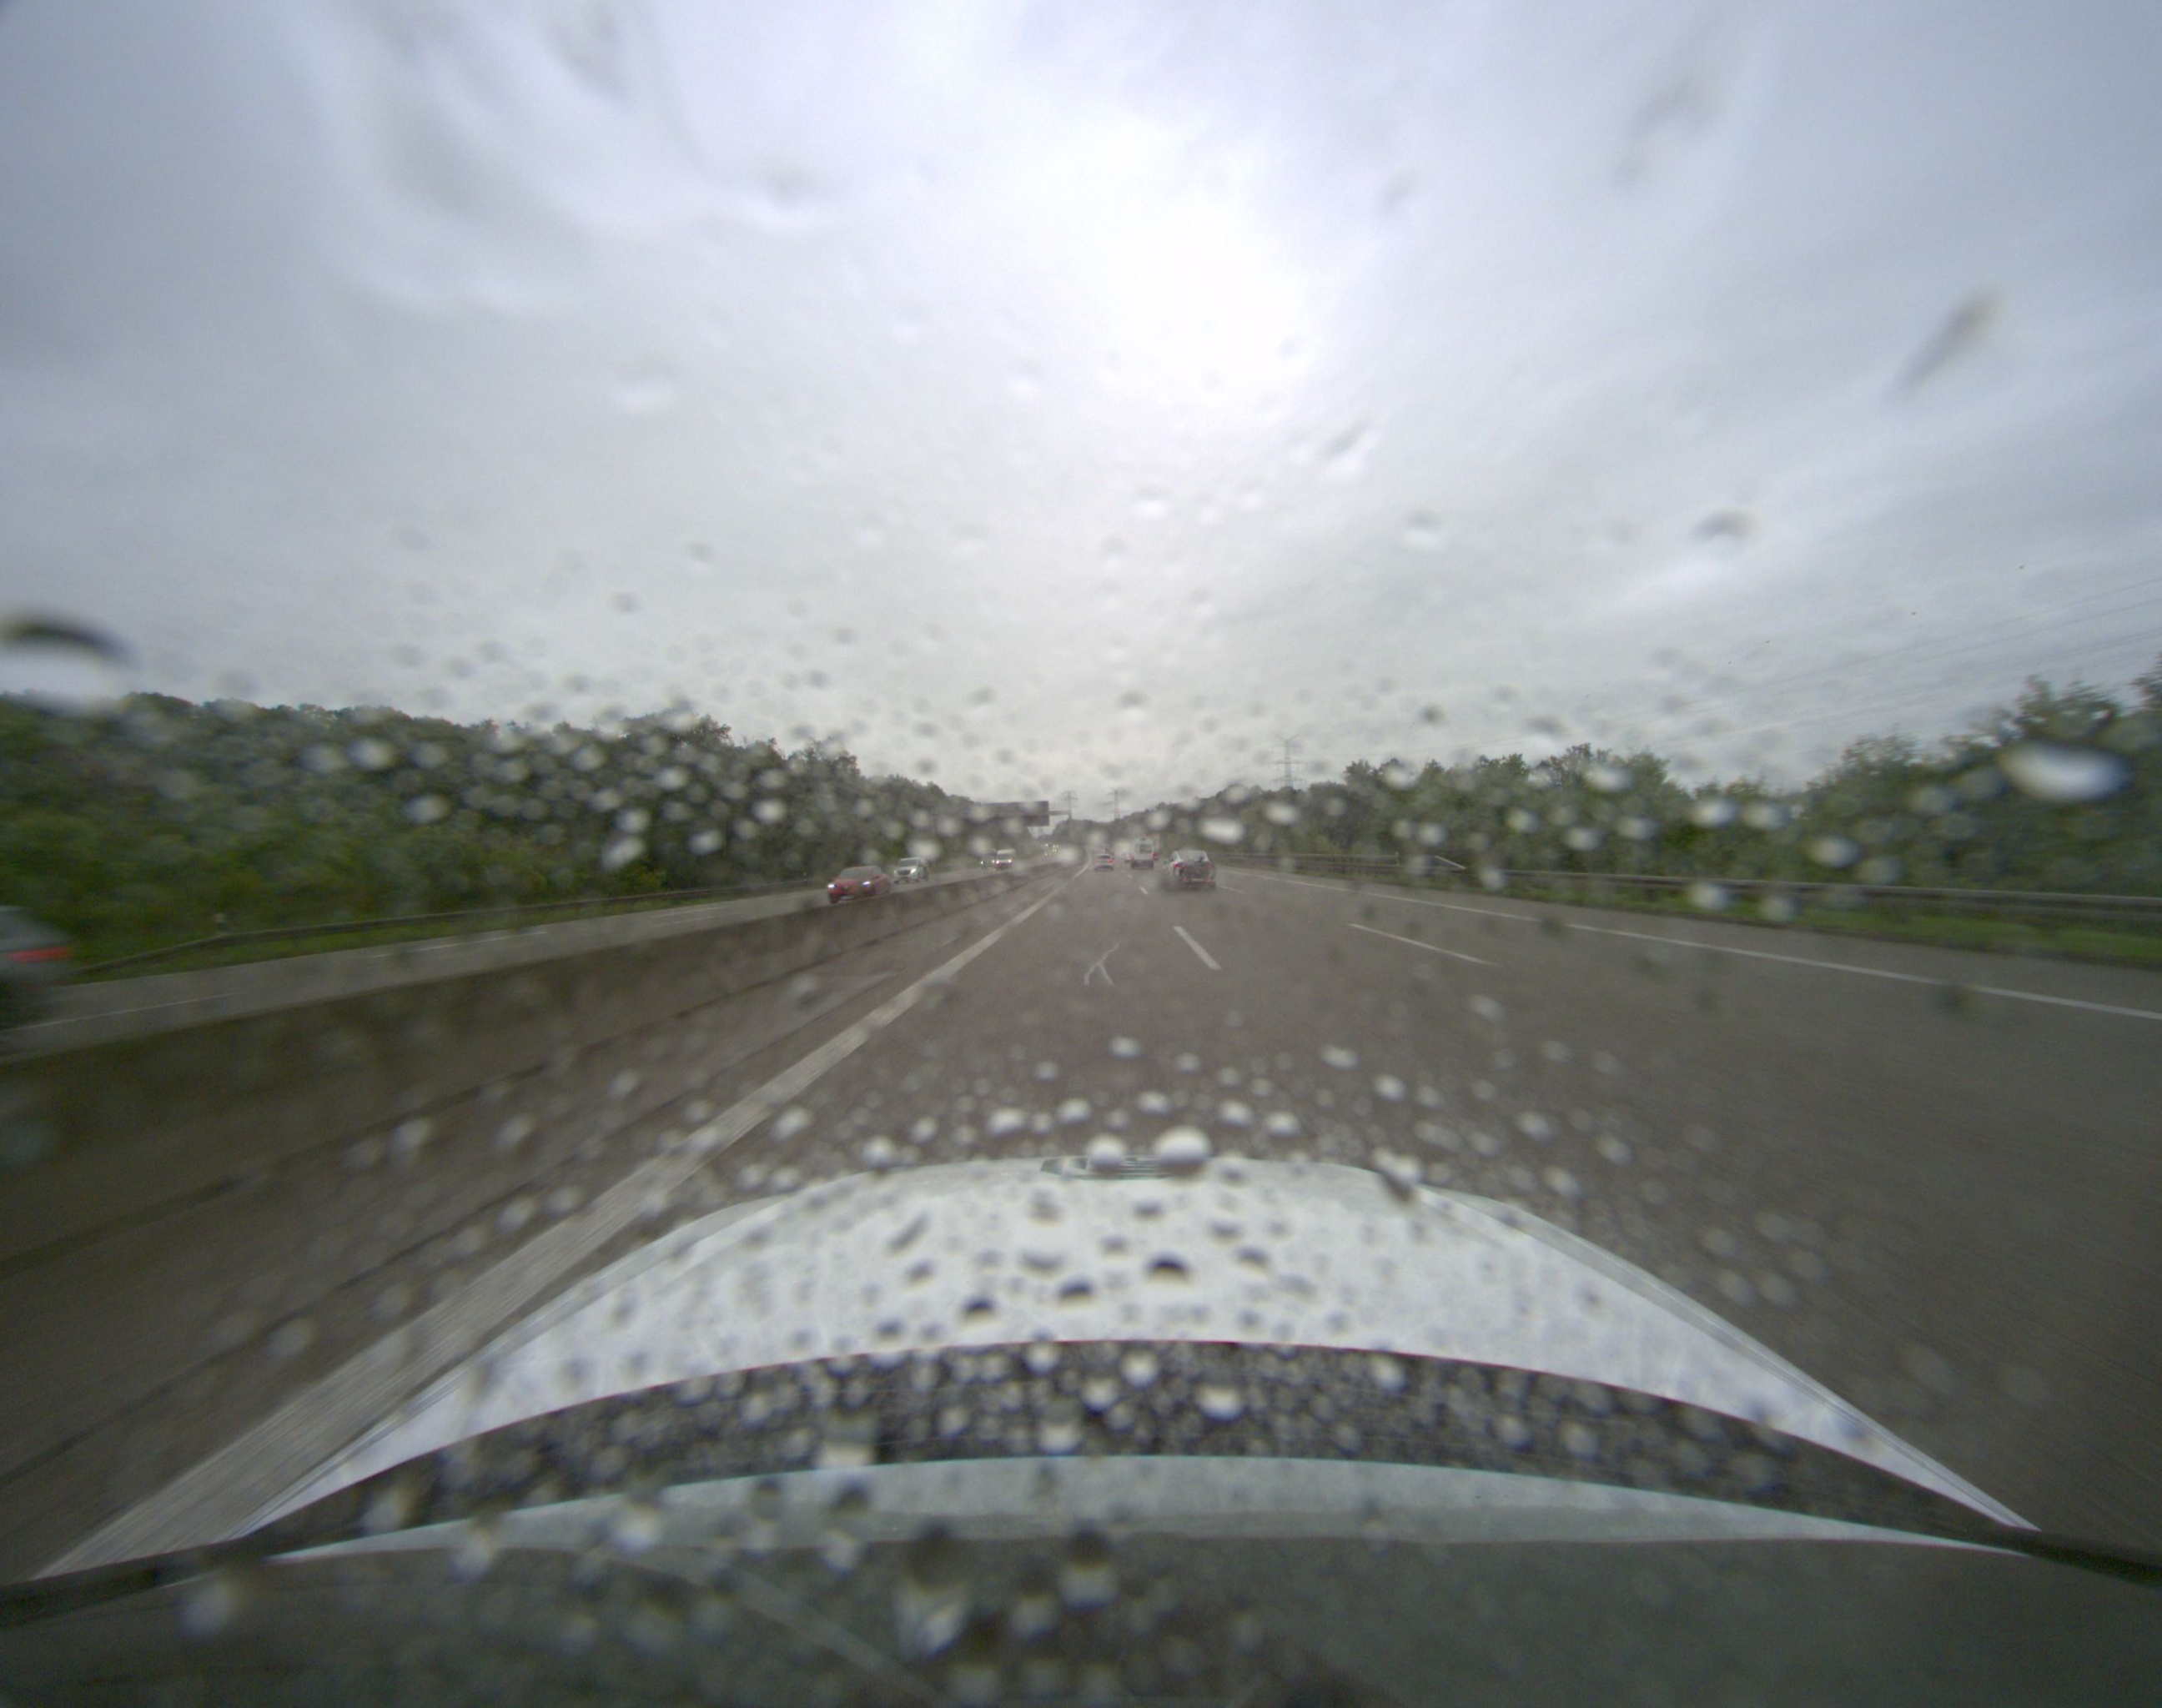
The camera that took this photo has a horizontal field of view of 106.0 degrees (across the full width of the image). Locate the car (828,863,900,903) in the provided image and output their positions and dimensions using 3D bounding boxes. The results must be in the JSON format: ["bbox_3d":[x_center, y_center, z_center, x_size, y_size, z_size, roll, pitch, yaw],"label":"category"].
[{"bbox_3d":[-8.886,1.139,33.692,1.629,1.412,4.368,-3,0,1],"label":"car"}]

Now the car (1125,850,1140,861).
[{"bbox_3d":[6.920,0.159,109.665,1.850,1.422,4.002,-1,1,2],"label":"car"}]

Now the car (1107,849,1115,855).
[{"bbox_3d":[7.777,-0.505,213.558,1.986,1.574,4.001,-3,0,1],"label":"car"}]

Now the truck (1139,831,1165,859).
[{"bbox_3d":[11.522,-1.472,133.707,3.588,4.332,13.210,-2,0,3],"label":"truck"}]

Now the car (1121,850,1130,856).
[{"bbox_3d":[11.383,-0.227,208.625,1.987,1.486,4.000,-4,0,1],"label":"car"}]

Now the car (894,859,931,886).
[{"bbox_3d":[-13.265,1.434,64.259,1.735,1.904,4.532,-3,0,2],"label":"car"}]

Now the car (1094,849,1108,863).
[{"bbox_3d":[2.581,0.221,106.254,1.839,1.772,4.001,0,0,1],"label":"car"}]

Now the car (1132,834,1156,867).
[{"bbox_3d":[5.805,-0.297,75.814,1.985,2.864,4.003,-3,0,3],"label":"car"}]

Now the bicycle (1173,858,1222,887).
[{"bbox_3d":[4.504,0.704,31.568,1.748,1.090,0.913,-1,-1,-1],"label":"bicycle"}]

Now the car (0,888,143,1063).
[{"bbox_3d":[-11.807,1.271,6.857,1.986,1.688,4.918,-3,0,2],"label":"car"}]

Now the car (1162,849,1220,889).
[{"bbox_3d":[4.574,0.583,34.535,1.854,1.568,4.965,-1,0,1],"label":"car"}]

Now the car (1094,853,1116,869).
[{"bbox_3d":[2.109,0.605,71.737,1.860,1.288,4.001,-3,0,1],"label":"car"}]

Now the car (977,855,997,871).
[{"bbox_3d":[-13.527,1.293,117.533,1.986,2.168,6.419,-3,0,1],"label":"car"}]

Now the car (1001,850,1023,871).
[{"bbox_3d":[-8.518,0.784,100.803,2.270,2.331,6.171,-3,0,-2],"label":"car"}]
